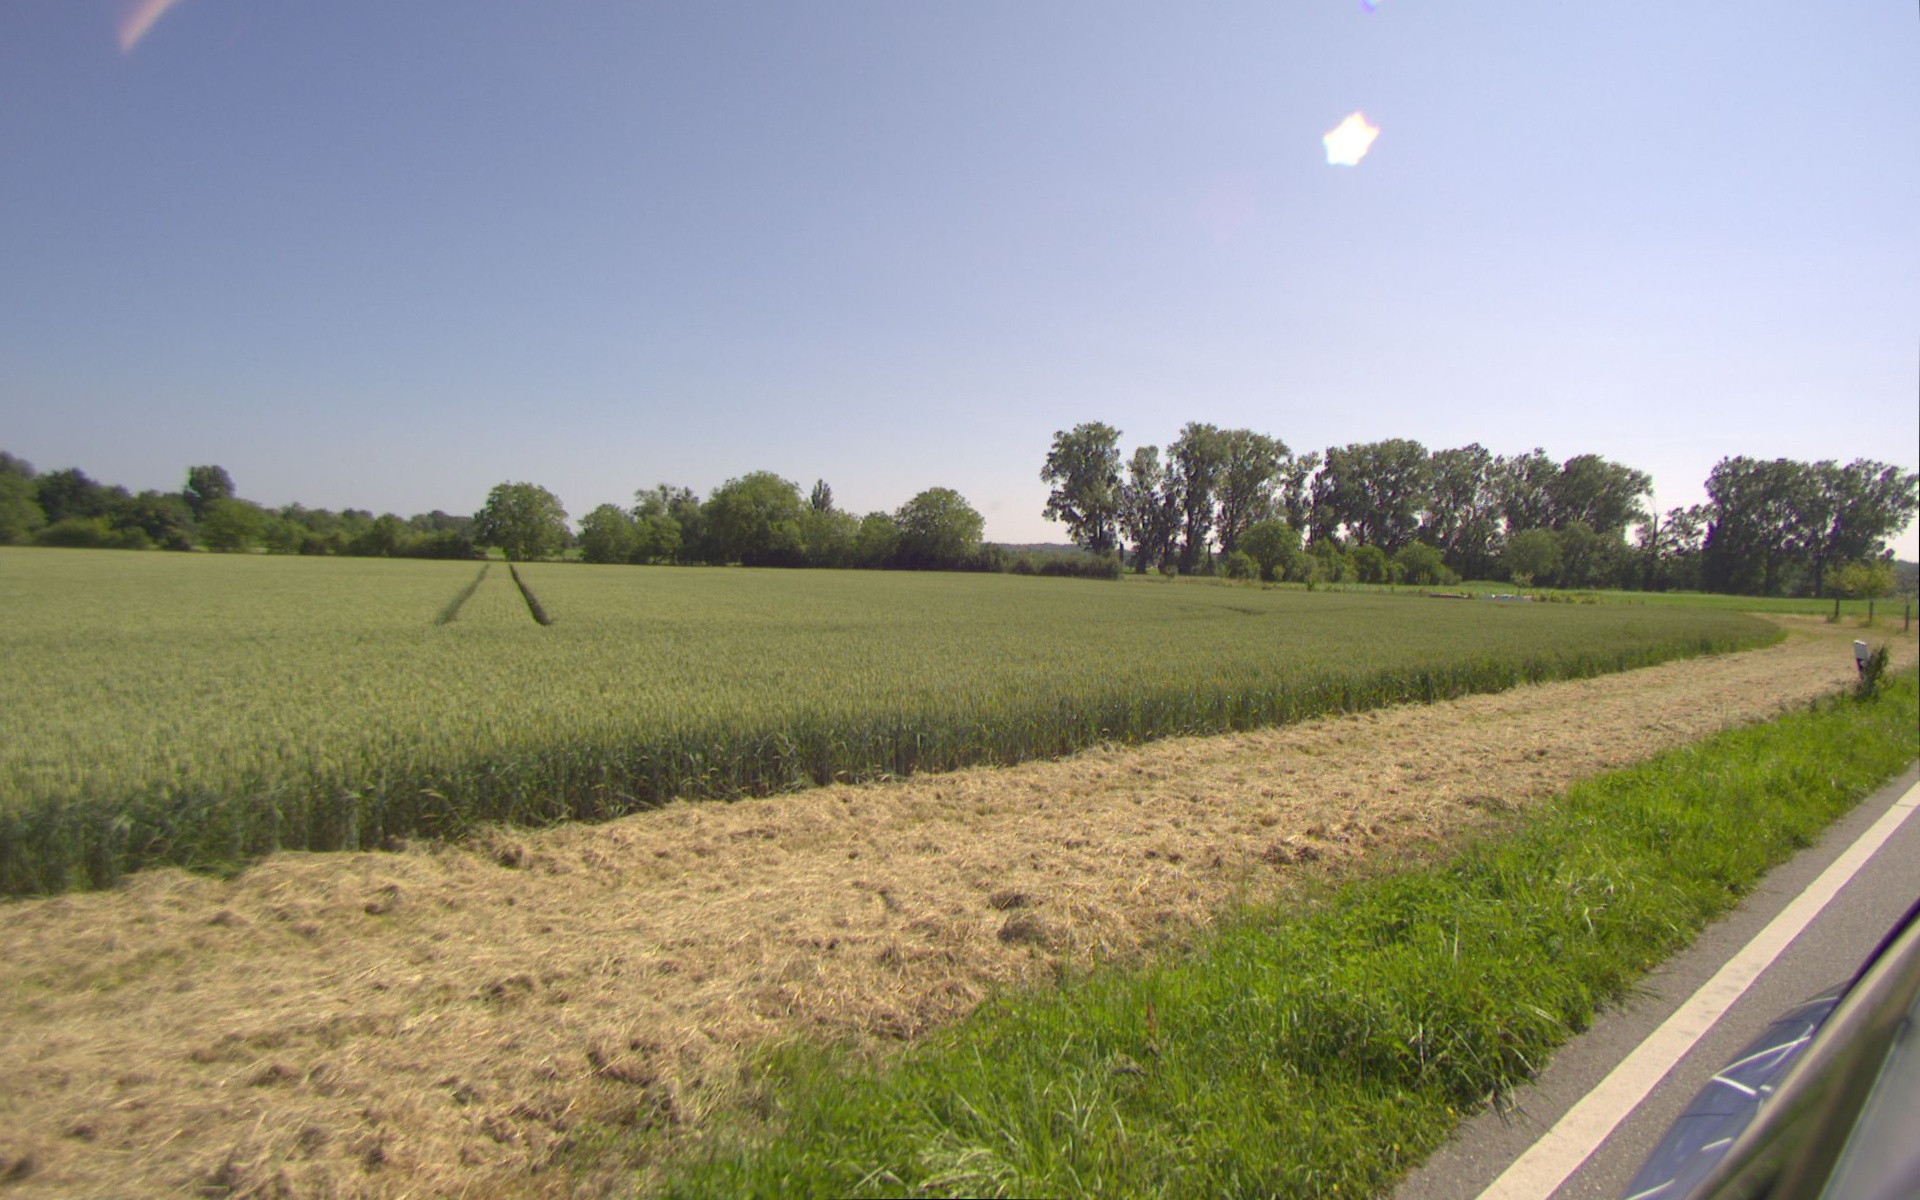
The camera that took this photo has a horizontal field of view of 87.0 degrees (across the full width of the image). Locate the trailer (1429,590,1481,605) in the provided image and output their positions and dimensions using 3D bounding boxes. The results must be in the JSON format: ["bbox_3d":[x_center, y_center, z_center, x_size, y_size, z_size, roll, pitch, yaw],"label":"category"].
[{"bbox_3d":[40.561,-0.222,83.011,1.630,1.204,3.554,0,1,-28],"label":"trailer"}]

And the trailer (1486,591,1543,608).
[{"bbox_3d":[42.956,-0.057,78.468,1.630,1.204,3.602,0,1,-28],"label":"trailer"}]
